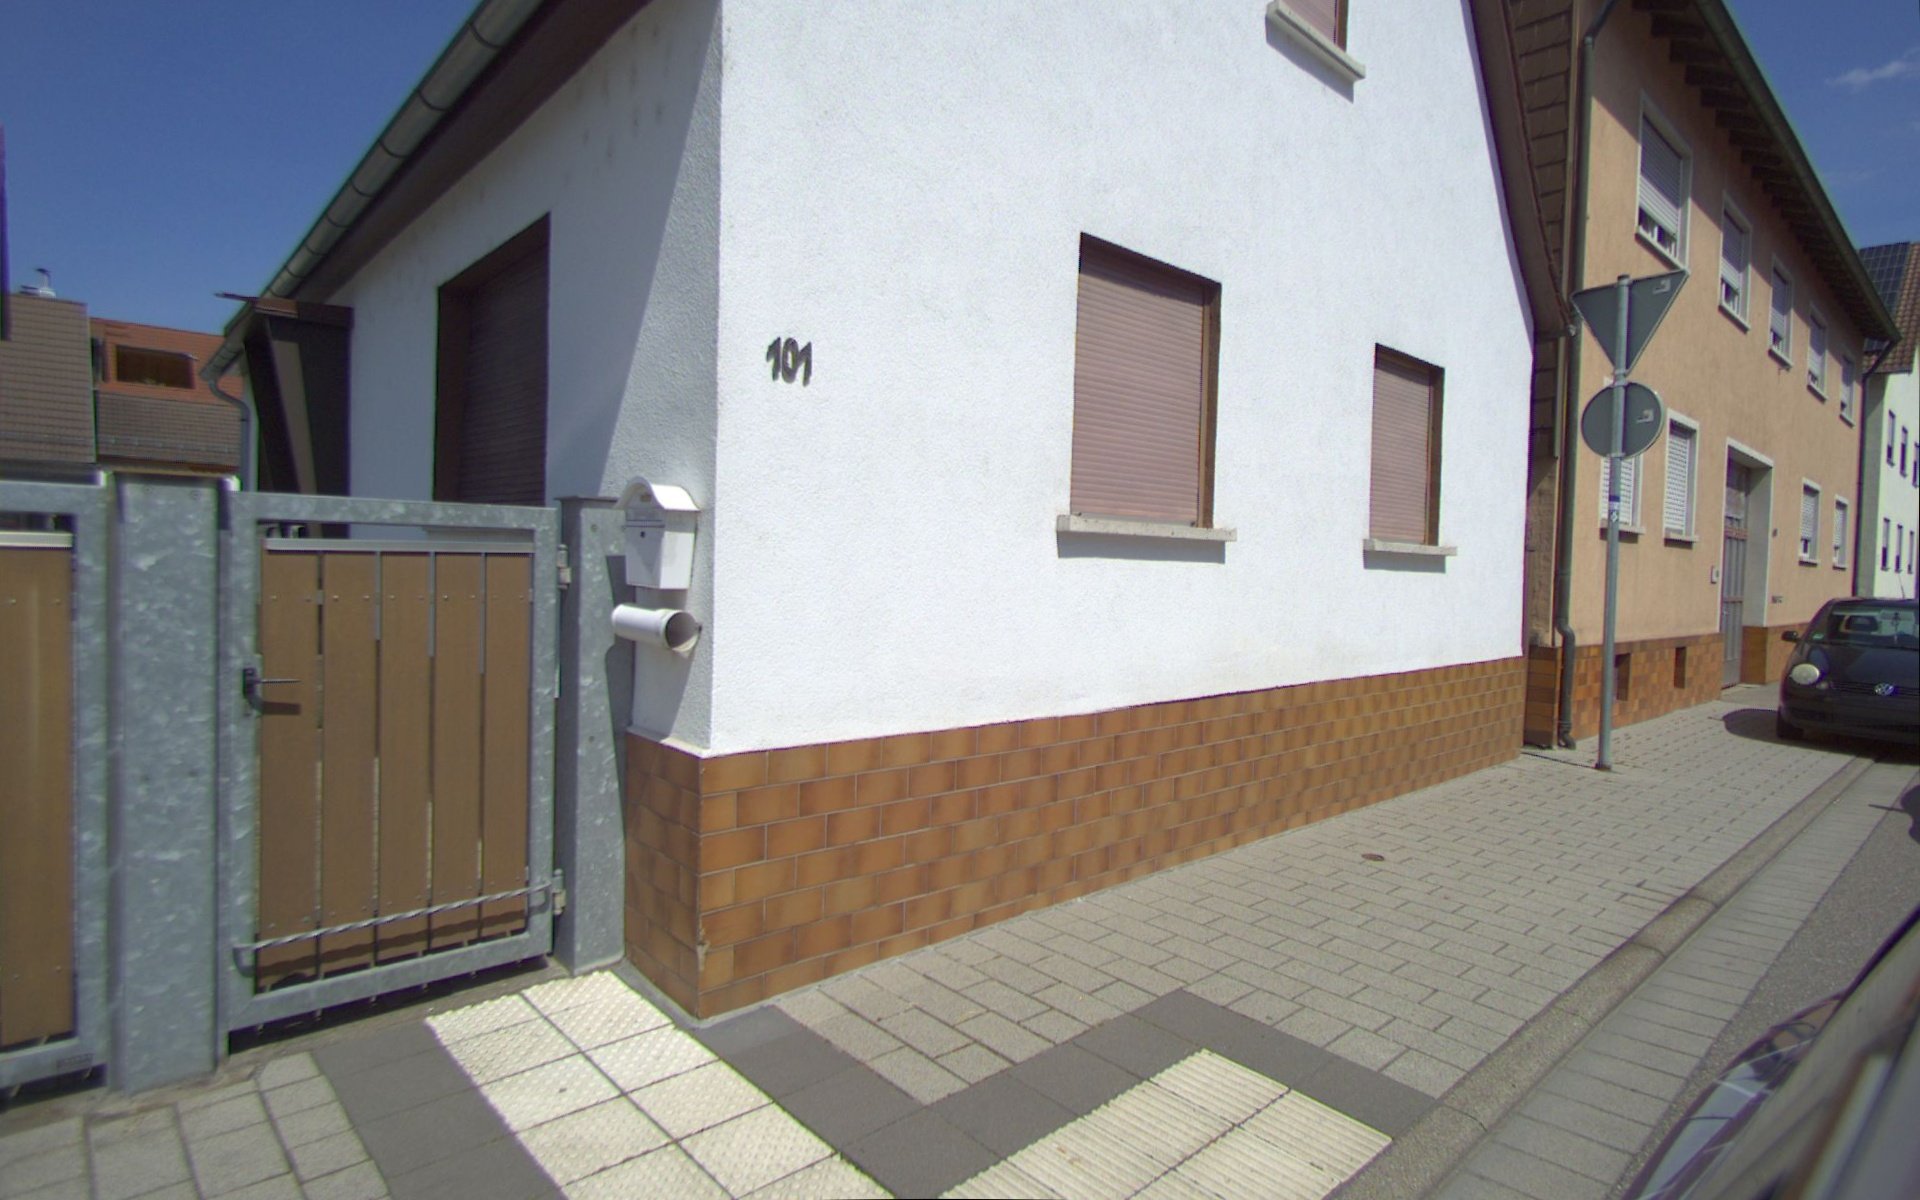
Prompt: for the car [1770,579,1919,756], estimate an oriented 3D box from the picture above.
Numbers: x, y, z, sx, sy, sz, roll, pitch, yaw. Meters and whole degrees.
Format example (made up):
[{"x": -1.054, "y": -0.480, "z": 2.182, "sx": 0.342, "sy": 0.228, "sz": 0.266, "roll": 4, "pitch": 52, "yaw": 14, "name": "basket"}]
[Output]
[{"x": 9.568, "y": 0.607, "z": 10.143, "sx": 3.568, "sy": 1.480, "sz": 1.689, "roll": 0, "pitch": 4, "yaw": -43, "name": "car"}]
